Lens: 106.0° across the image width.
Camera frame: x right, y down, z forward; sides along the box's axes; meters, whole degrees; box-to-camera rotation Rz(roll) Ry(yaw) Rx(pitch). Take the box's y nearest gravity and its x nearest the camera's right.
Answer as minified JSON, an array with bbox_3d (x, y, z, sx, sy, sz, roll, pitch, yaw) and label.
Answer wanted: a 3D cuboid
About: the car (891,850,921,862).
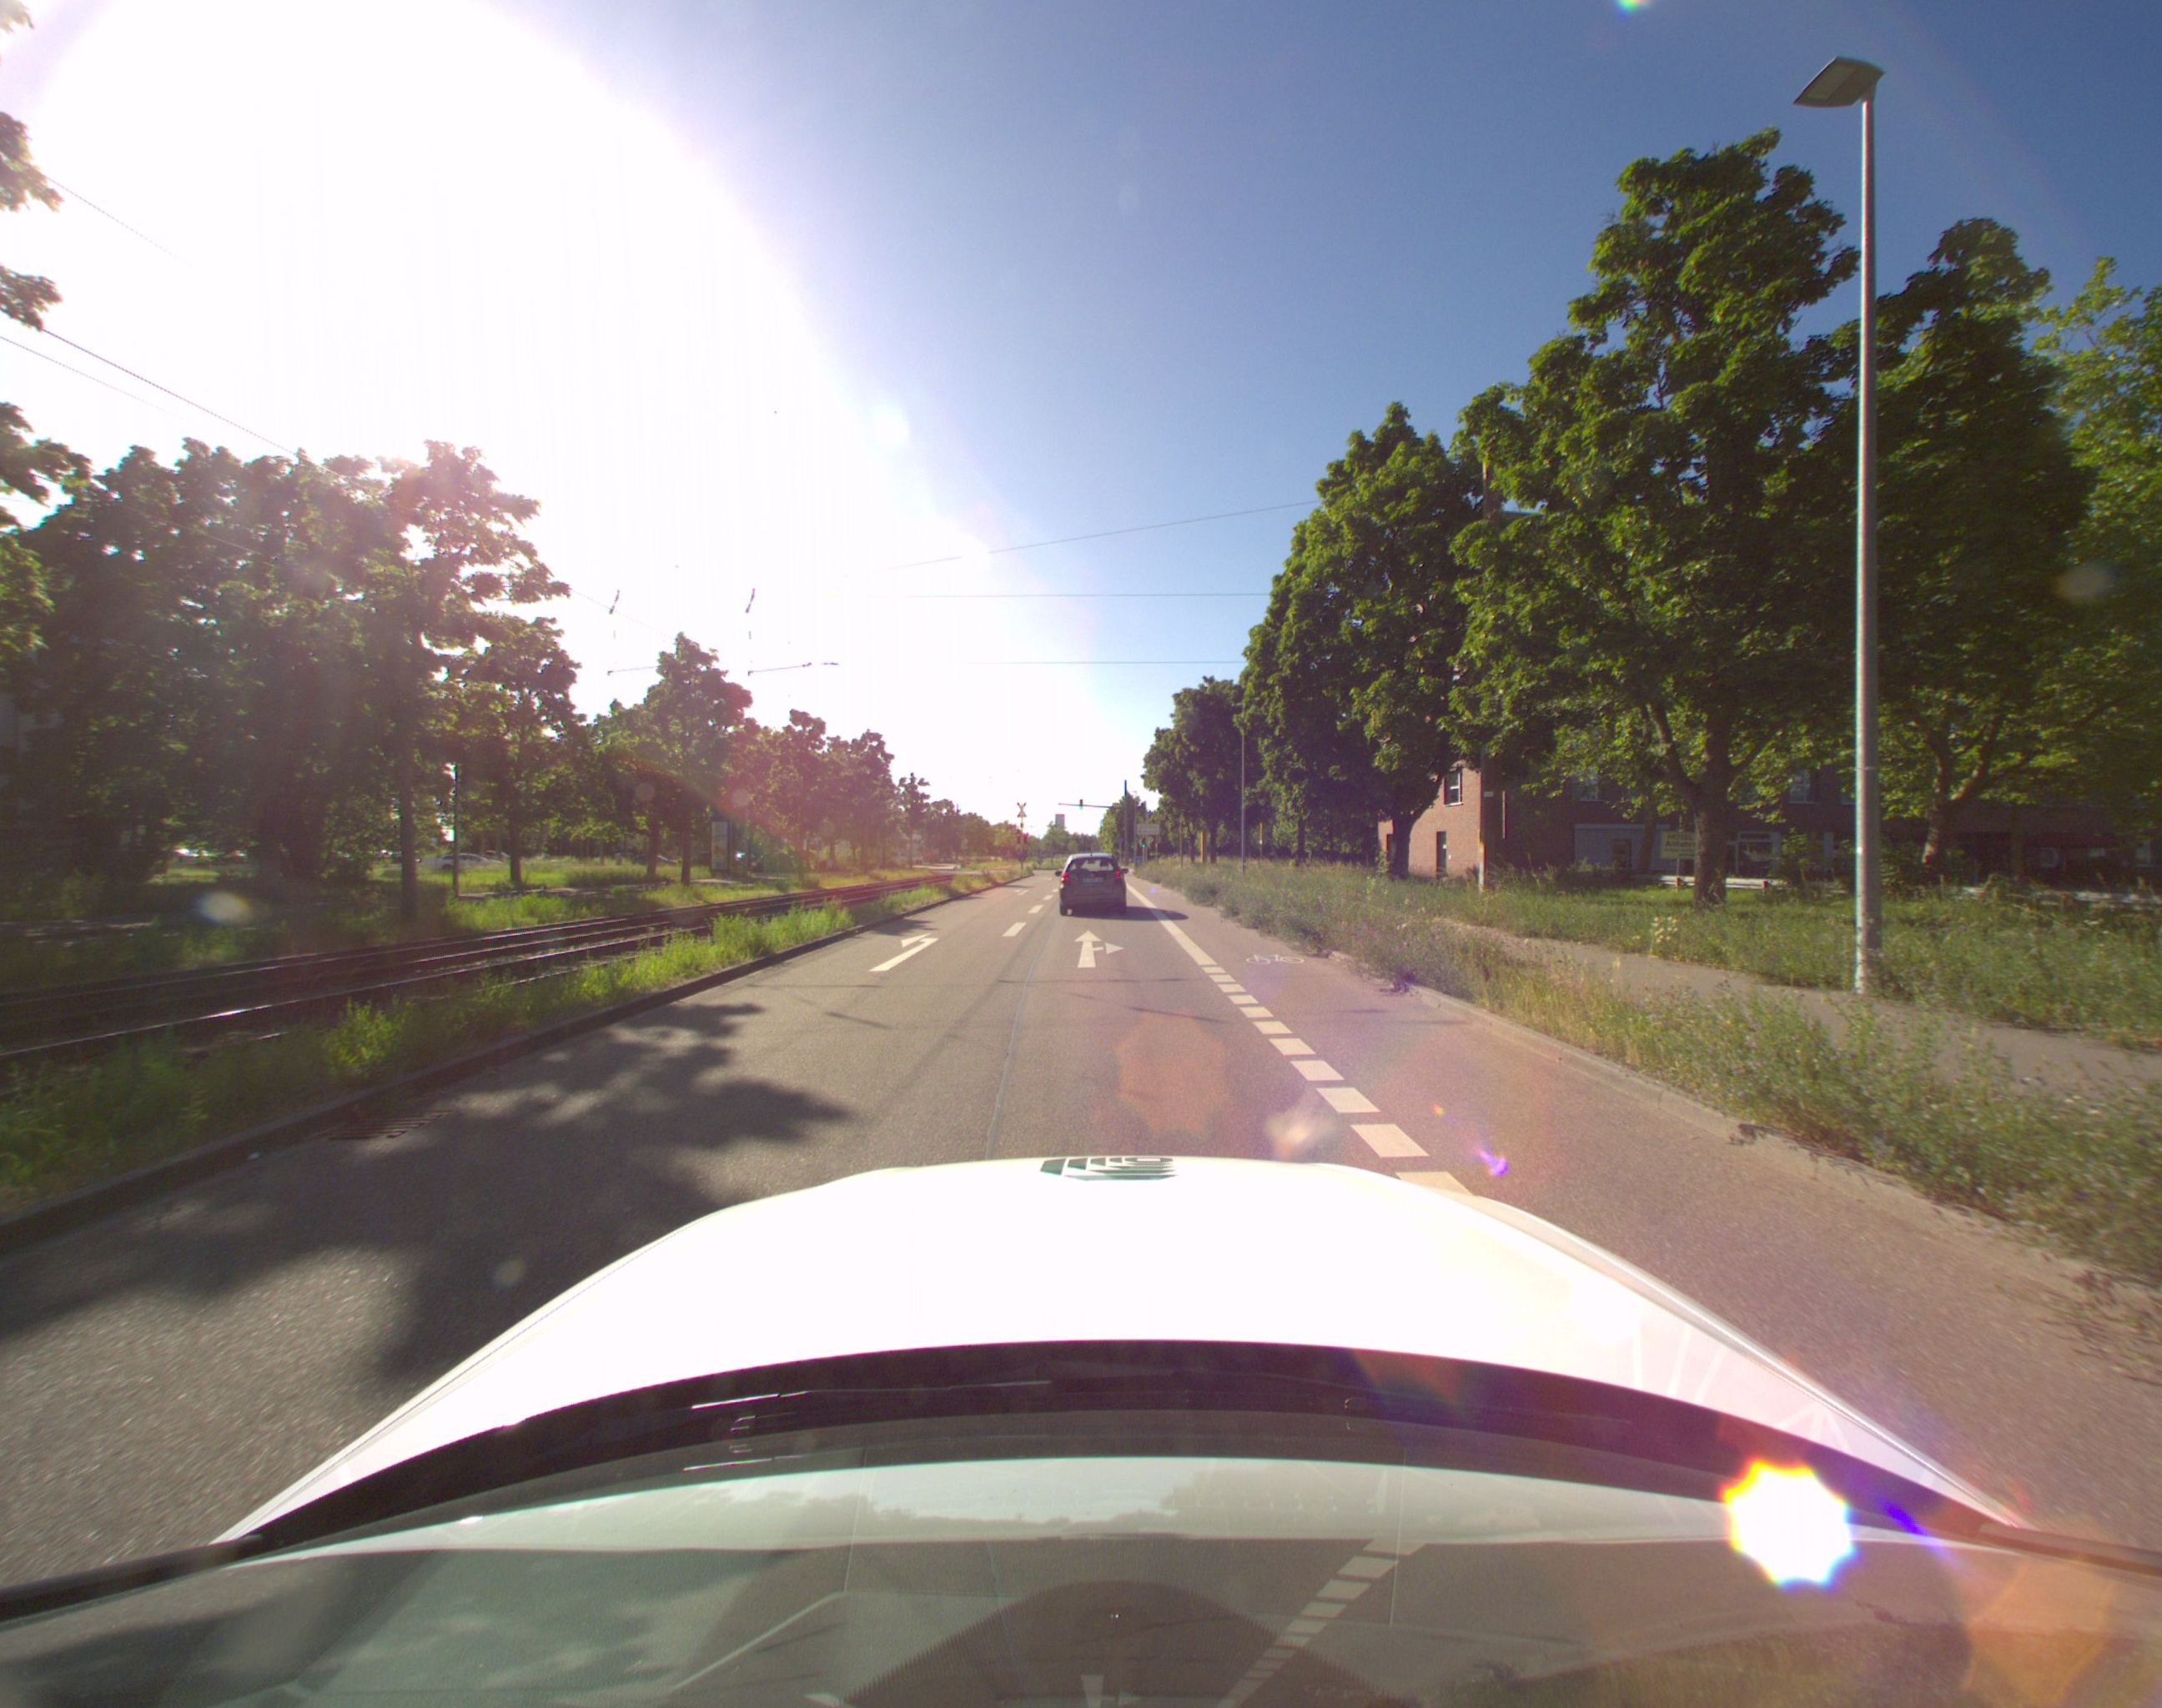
[{"bbox_3d":[-29.189,0.278,135.997,1.837,1.974,4.816,0,0,40],"label":"car"}]

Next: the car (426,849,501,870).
[{"bbox_3d":[-49.602,0.414,65.537,4.432,1.640,1.976,0,0,-21],"label":"car"}]

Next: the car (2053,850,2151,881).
[{"bbox_3d":[61.051,0.670,48.736,3.982,1.828,1.869,0,0,-7],"label":"car"}]

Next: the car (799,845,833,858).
[{"bbox_3d":[-42.577,-0.402,130.970,4.709,2.091,2.019,0,0,-2],"label":"car"}]

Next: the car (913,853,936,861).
[{"bbox_3d":[-29.354,0.592,152.742,4.061,1.568,1.790,0,0,-3],"label":"car"}]

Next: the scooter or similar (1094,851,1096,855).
[{"bbox_3d":[3.887,-0.262,220.527,0.538,1.118,1.416,0,0,-2],"label":"scooter or similar"}]

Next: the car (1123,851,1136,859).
[{"bbox_3d":[8.655,0.130,145.664,1.770,1.386,3.865,-1,0,-3],"label":"car"}]

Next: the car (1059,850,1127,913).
[{"bbox_3d":[0.354,0.663,21.359,1.618,1.500,3.458,-1,0,2],"label":"car"}]
